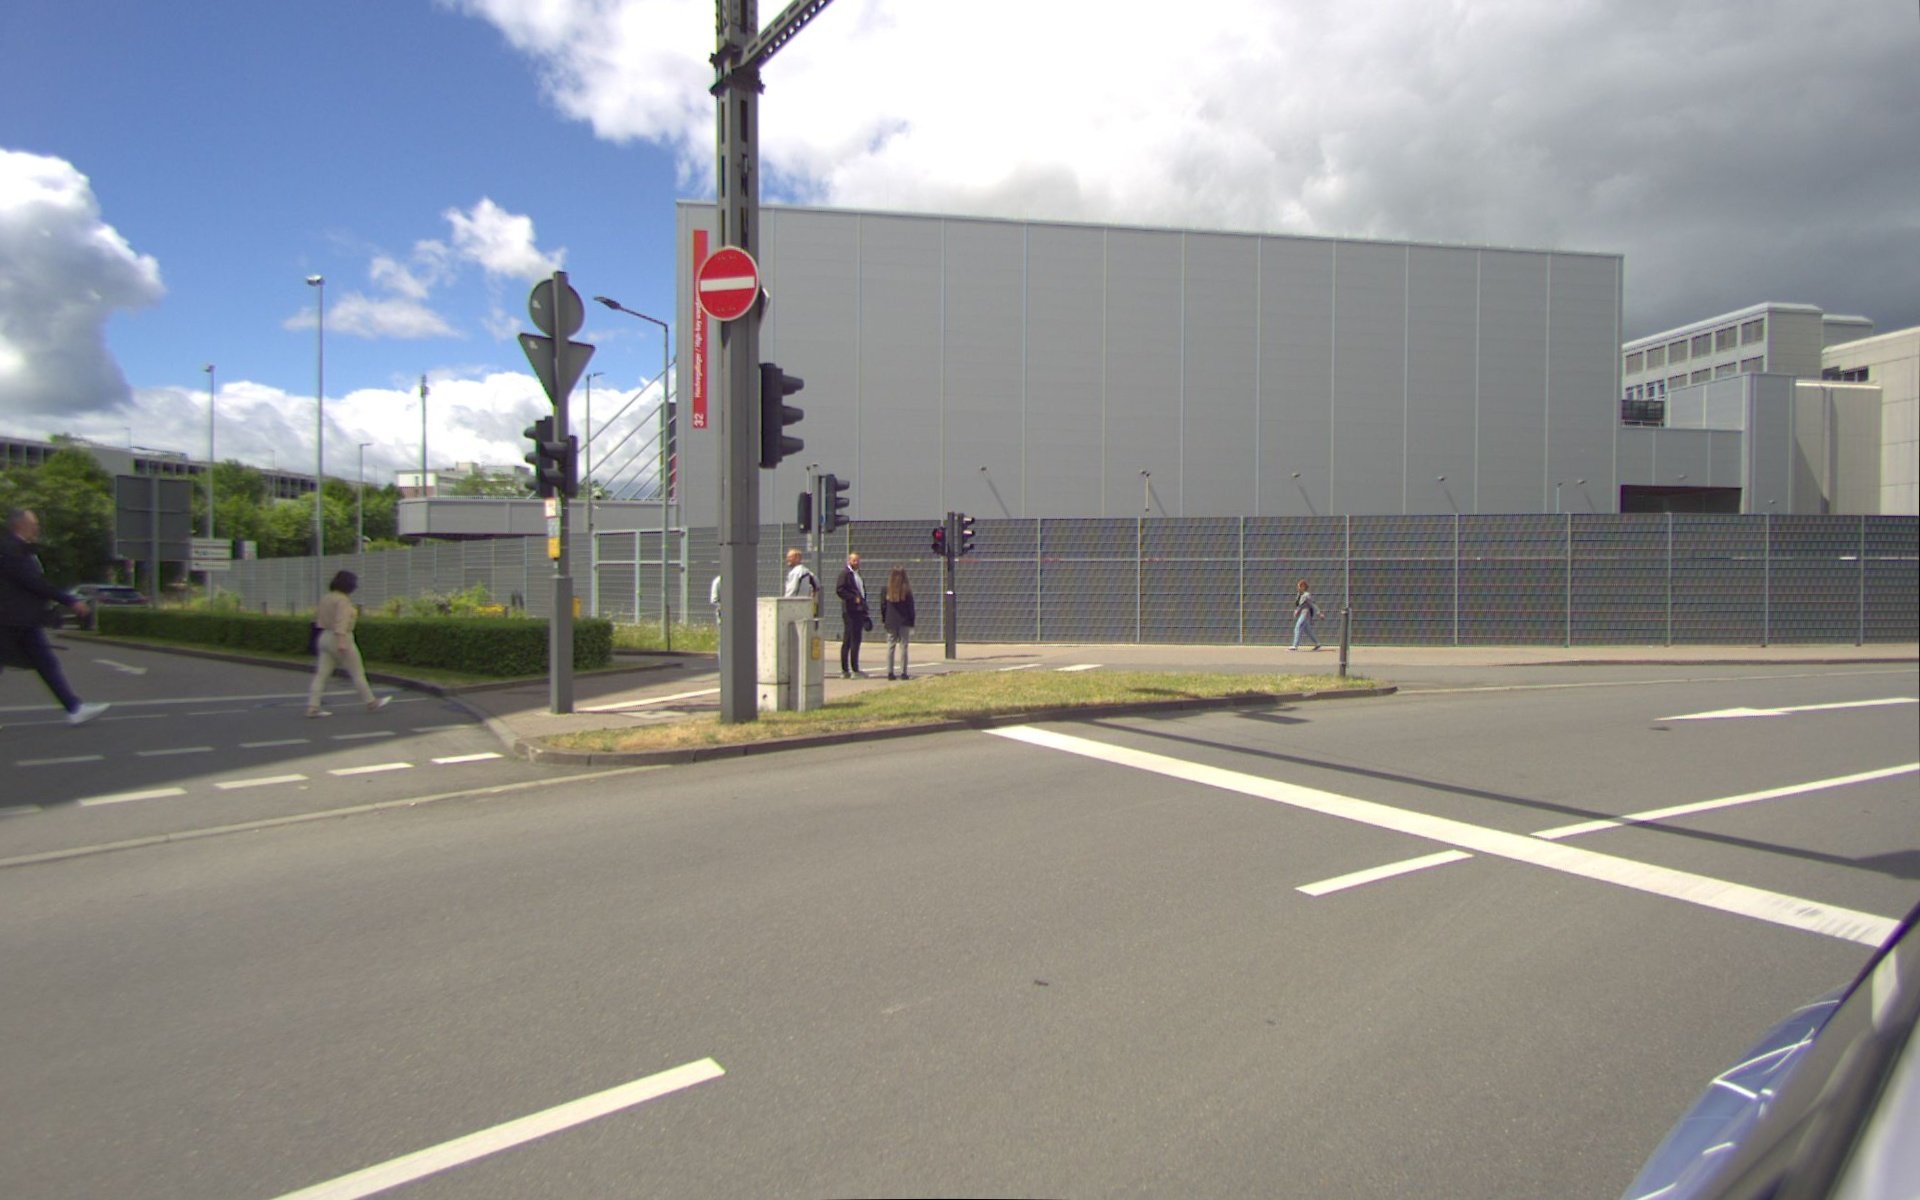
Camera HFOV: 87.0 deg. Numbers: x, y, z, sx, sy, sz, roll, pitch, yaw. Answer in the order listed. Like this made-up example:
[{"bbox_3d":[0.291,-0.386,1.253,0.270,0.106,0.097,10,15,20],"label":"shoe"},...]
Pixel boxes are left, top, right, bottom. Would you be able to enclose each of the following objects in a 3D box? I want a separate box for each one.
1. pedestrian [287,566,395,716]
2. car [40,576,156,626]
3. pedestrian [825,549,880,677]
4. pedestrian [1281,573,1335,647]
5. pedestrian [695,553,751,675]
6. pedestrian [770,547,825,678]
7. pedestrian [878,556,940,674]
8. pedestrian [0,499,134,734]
[{"bbox_3d":[-6.505,0.415,10.661,0.576,1.515,0.767,-1,0,19],"label":"pedestrian"},{"bbox_3d":[-31.498,0.038,36.966,3.964,1.724,1.980,-1,0,29],"label":"car"},{"bbox_3d":[-1.562,0.180,14.787,0.610,1.817,0.671,-1,0,9],"label":"pedestrian"},{"bbox_3d":[7.718,0.216,22.472,0.902,1.606,0.696,-1,0,-6],"label":"pedestrian"},{"bbox_3d":[-3.552,0.210,15.180,0.610,1.781,0.605,-1,0,8],"label":"pedestrian"},{"bbox_3d":[-2.388,0.177,14.908,0.609,1.870,0.672,-1,0,7],"label":"pedestrian"},{"bbox_3d":[-0.746,0.202,14.653,0.659,1.658,0.621,-1,0,-29],"label":"pedestrian"},{"bbox_3d":[-8.483,0.138,9.104,1.352,2.010,0.958,1,-1,-22],"label":"pedestrian"}]
